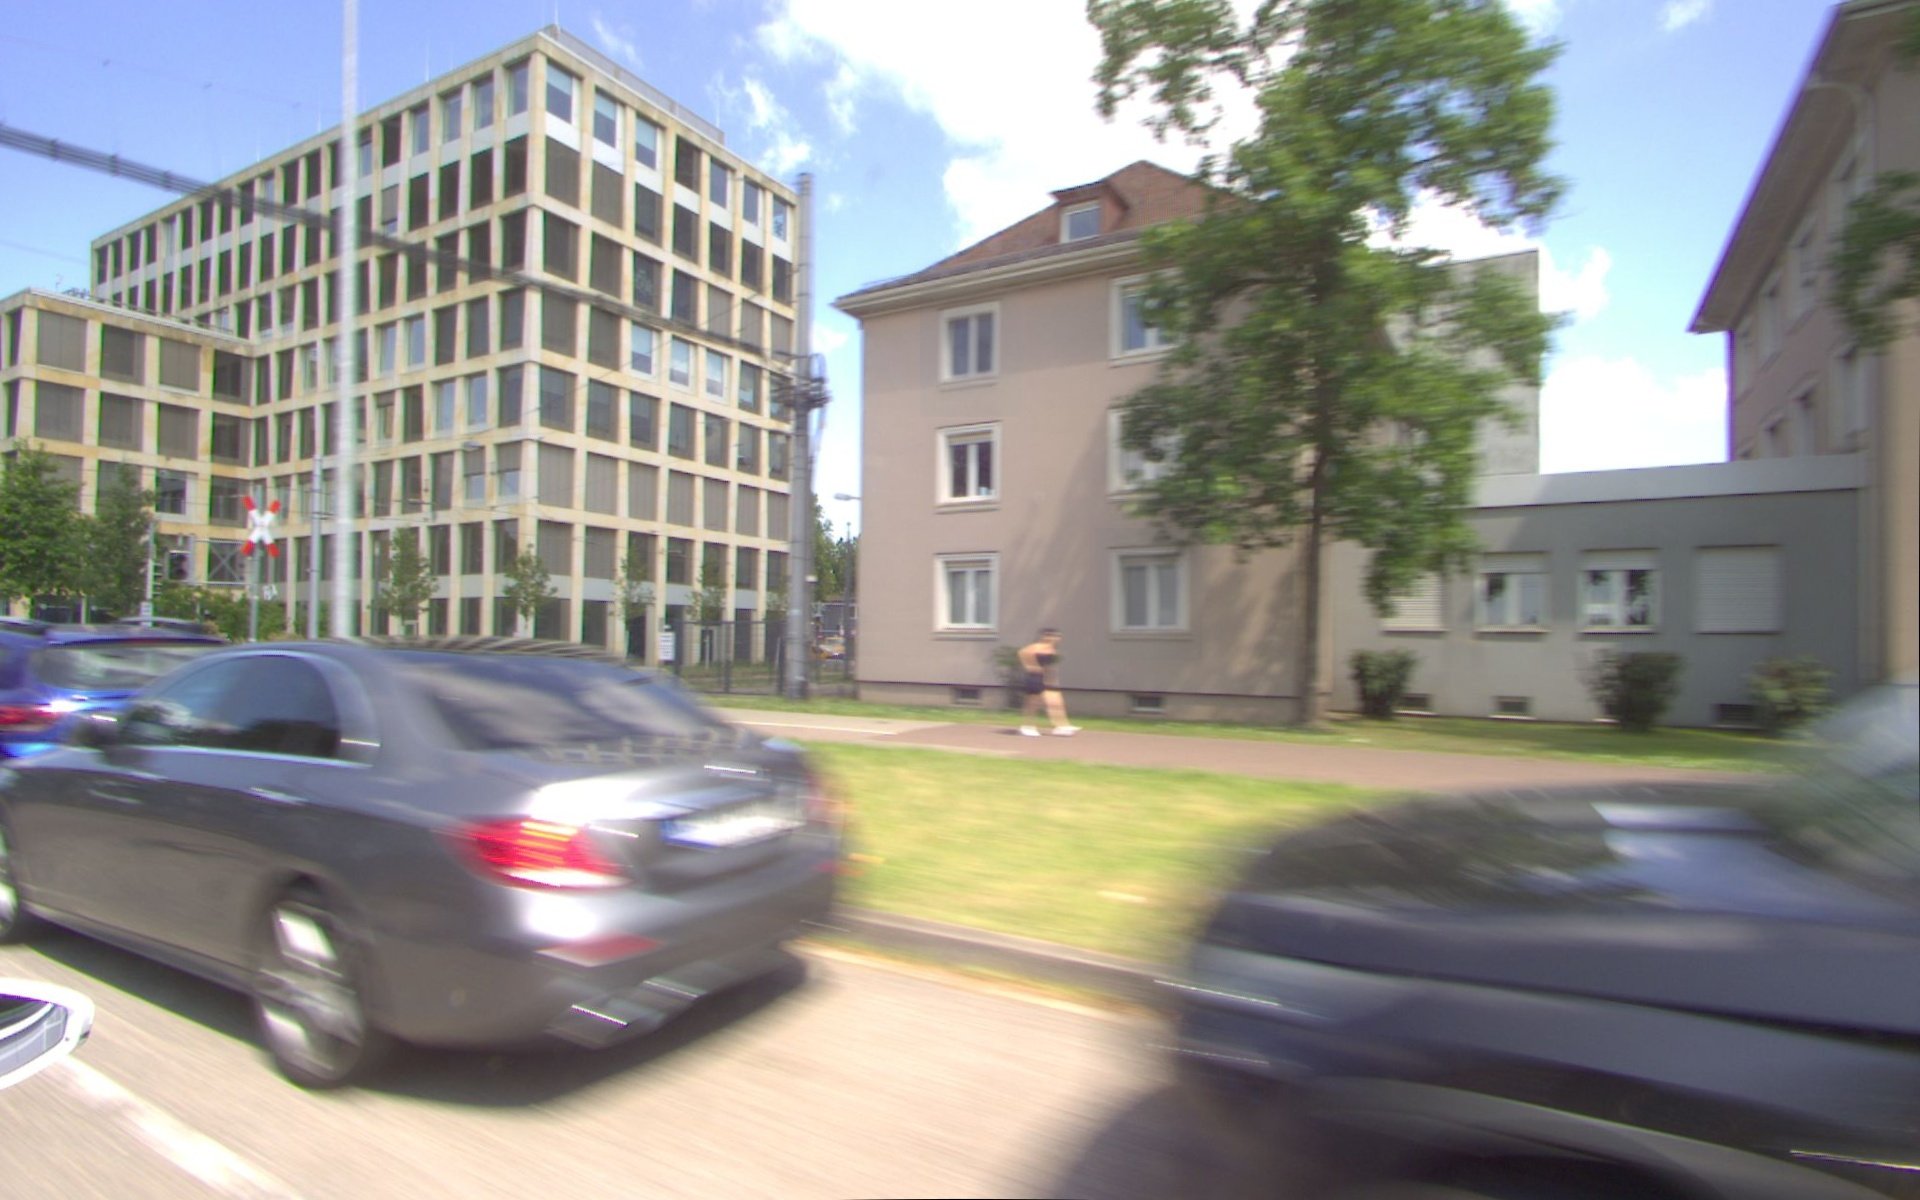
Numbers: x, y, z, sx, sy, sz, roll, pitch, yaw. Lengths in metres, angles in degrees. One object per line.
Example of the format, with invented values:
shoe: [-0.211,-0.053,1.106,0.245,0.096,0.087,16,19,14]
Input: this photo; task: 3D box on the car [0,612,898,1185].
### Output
car: [-2.829,0.818,4.700,4.916,1.473,1.814,0,0,31]

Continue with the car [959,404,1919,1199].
car: [2.428,0.641,1.364,4.601,1.684,1.814,0,0,31]

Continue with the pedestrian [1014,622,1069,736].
pedestrian: [1.207,1.144,14.775,0.615,1.629,0.622,0,0,28]

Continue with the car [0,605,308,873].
car: [-7.081,0.826,7.605,4.353,1.560,1.777,0,-1,29]
